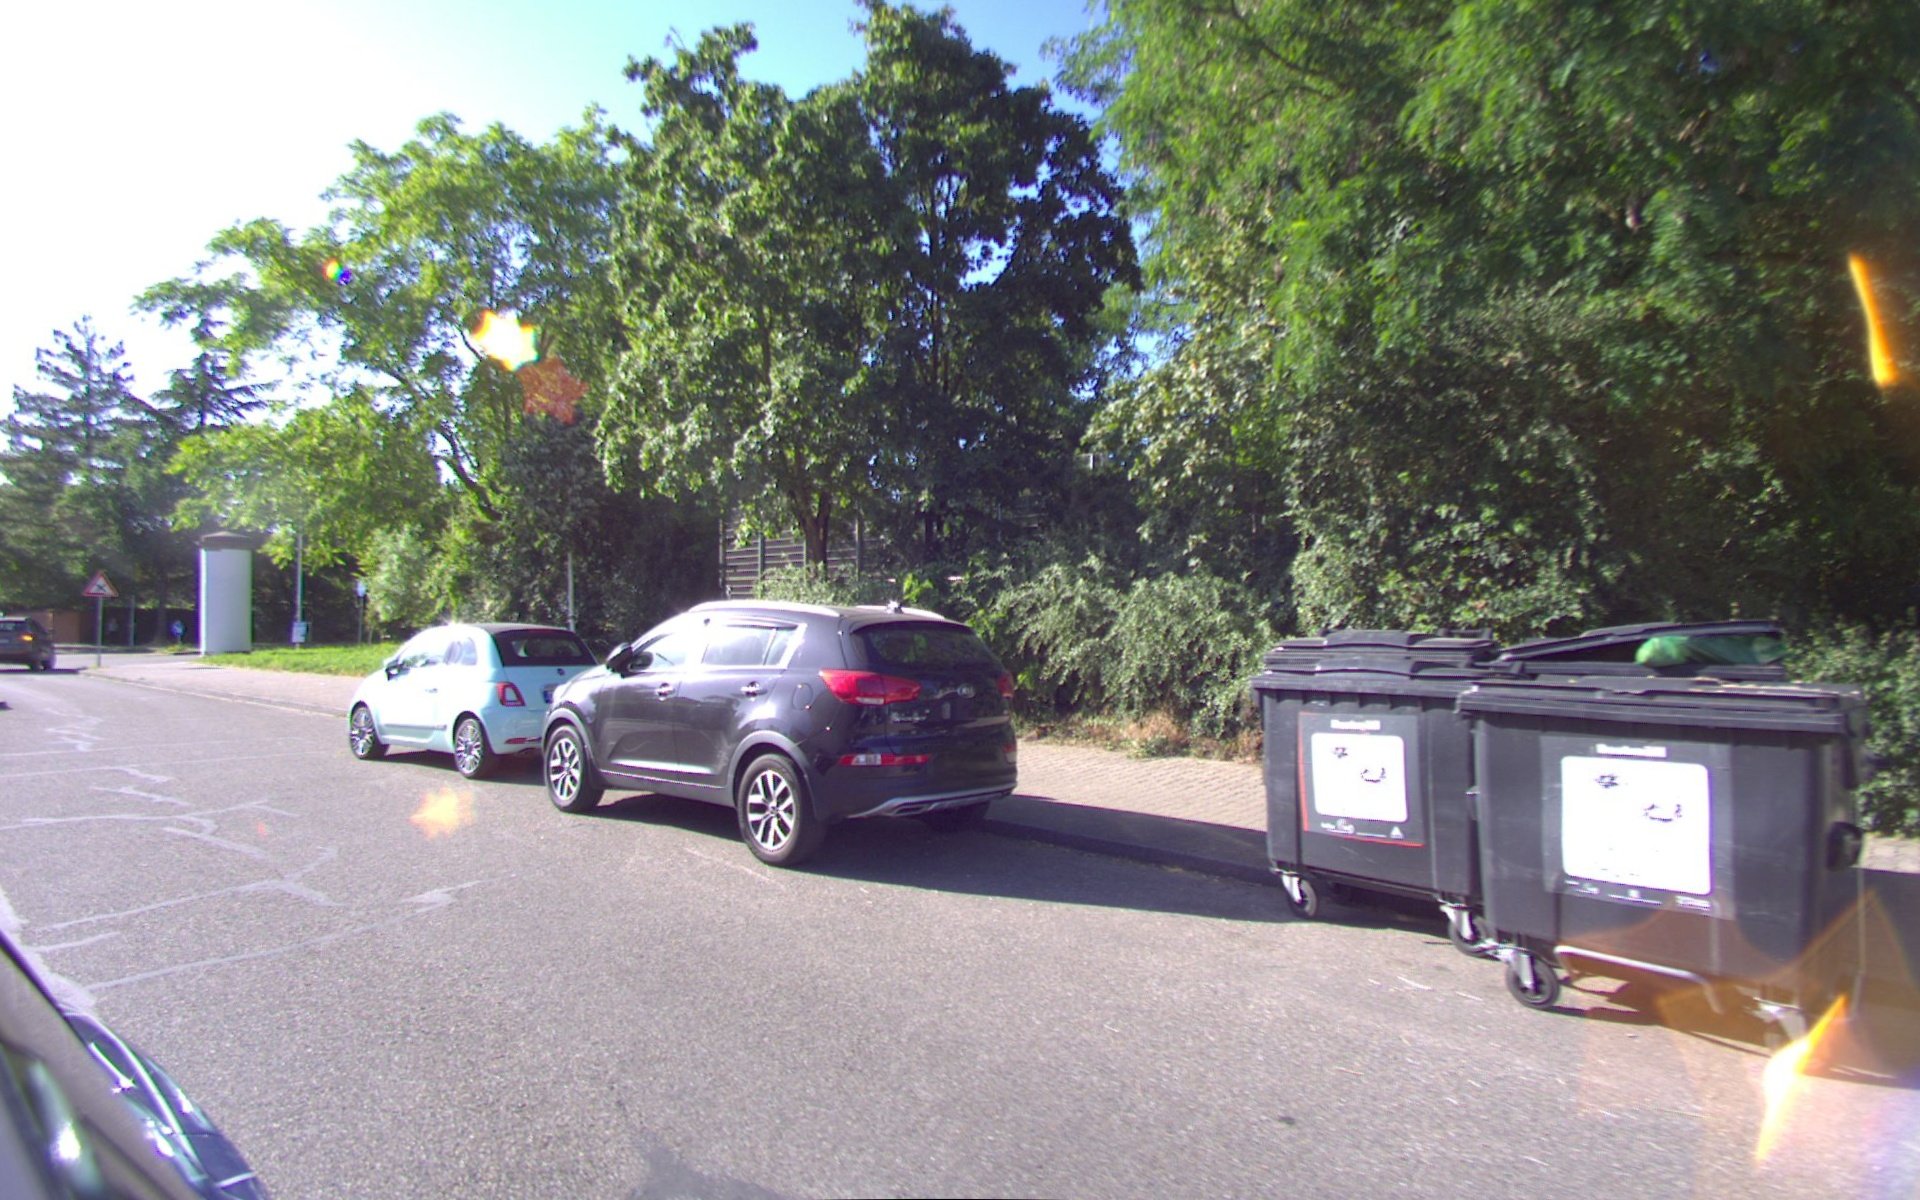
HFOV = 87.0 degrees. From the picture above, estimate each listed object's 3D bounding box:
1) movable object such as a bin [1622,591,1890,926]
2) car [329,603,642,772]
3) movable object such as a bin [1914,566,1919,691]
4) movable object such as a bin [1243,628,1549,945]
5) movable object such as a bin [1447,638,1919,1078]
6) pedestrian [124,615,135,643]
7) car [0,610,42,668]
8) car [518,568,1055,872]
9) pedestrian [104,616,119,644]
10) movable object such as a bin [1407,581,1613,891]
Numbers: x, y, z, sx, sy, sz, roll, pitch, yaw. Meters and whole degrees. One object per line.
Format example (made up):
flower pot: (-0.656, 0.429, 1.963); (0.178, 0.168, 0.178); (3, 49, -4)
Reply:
movable object such as a bin: (3.809, 0.671, 4.959); (0.891, 1.410, 1.053); (-1, 0, 32)
car: (-5.177, 0.836, 10.936); (3.412, 1.539, 1.612); (-1, -1, 36)
movable object such as a bin: (11.400, 0.305, 10.899); (1.260, 1.365, 1.512); (1, -1, -41)
movable object such as a bin: (2.140, 0.826, 5.057); (0.602, 1.350, 1.270); (1, -1, -45)
movable object such as a bin: (2.721, 0.817, 3.866); (0.793, 1.326, 1.322); (1, -2, -42)
pedestrian: (-47.117, 1.646, 57.405); (0.538, 1.573, 0.390); (0, -1, 43)
car: (-30.166, 1.193, 31.581); (4.186, 1.718, 1.892); (-1, -2, 43)
car: (-1.498, 0.710, 7.564); (4.249, 1.651, 1.657); (-1, -3, 42)
pedestrian: (-47.823, 1.678, 57.029); (0.392, 1.532, 0.536); (0, -1, 16)
movable object such as a bin: (3.012, 0.652, 5.522); (0.891, 1.479, 1.053); (-1, 0, 32)
